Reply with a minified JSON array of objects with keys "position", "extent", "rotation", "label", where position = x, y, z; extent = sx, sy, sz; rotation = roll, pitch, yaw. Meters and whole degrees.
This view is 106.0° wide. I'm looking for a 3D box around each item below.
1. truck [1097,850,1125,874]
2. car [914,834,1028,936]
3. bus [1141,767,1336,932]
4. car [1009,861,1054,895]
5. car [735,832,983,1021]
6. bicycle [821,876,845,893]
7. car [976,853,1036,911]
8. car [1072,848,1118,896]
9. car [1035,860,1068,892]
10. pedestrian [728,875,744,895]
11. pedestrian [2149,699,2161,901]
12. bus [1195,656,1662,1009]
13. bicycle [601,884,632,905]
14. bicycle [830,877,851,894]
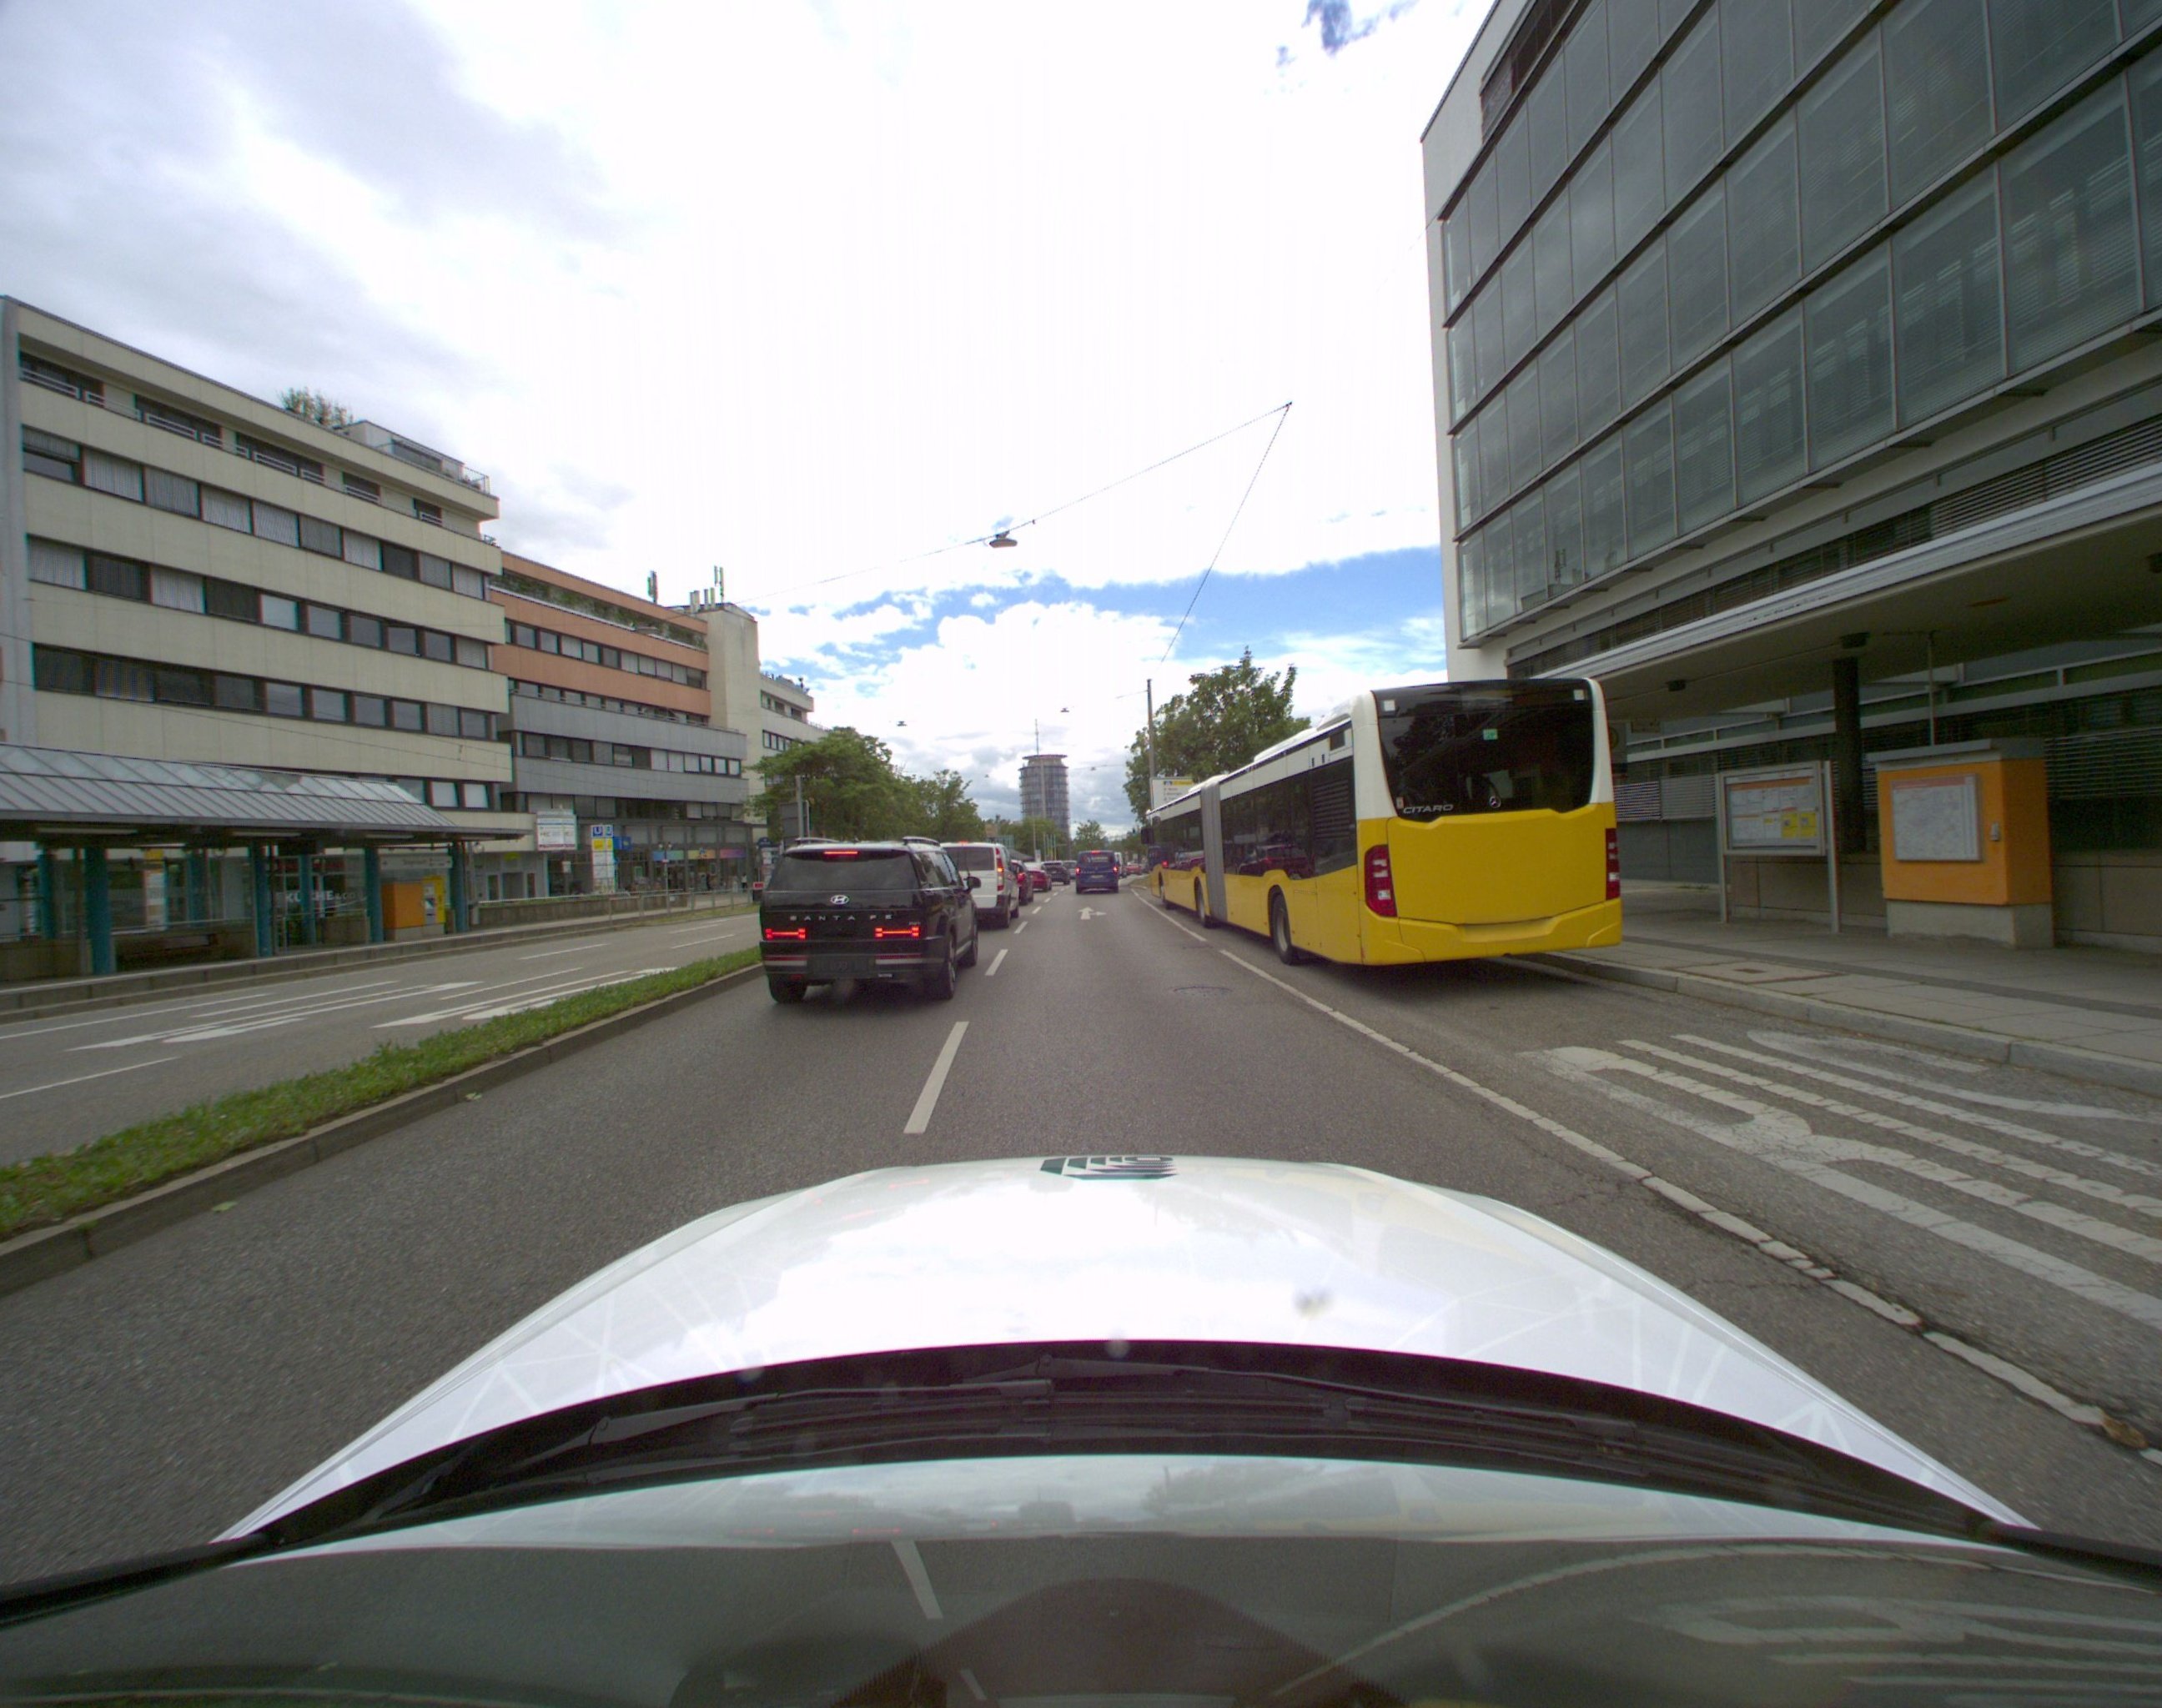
[{"position":[2.920,0.792,79.069],"extent":[1.981,2.166,5.573],"rotation":[-1,-1,9],"label":"truck"},{"position":[-2.465,0.642,19.514],"extent":[1.867,2.013,5.076],"rotation":[-3,0,1],"label":"car"},{"position":[3.511,-0.082,20.938],"extent":[2.706,3.163,9.118],"rotation":[-3,0,-2],"label":"bus"},{"position":[-2.396,1.184,40.350],"extent":[1.862,1.486,3.999],"rotation":[-3,-2,0],"label":"car"},{"position":[-2.372,0.718,10.031],"extent":[1.917,1.751,4.674],"rotation":[-1,-1,-2],"label":"car"},{"position":[-19.340,2.396,63.519],"extent":[0.619,1.253,1.694],"rotation":[-4,-2,41],"label":"bicycle"},{"position":[-2.536,0.972,28.257],"extent":[1.742,1.723,3.995],"rotation":[-5,-2,-3],"label":"car"},{"position":[0.632,0.811,37.222],"extent":[1.941,1.965,4.541],"rotation":[-2,-1,1],"label":"car"},{"position":[-1.930,1.430,55.031],"extent":[1.987,2.013,4.000],"rotation":[-2,0,0],"label":"car"},{"position":[-27.899,2.479,65.850],"extent":[0.905,1.527,0.841],"rotation":[-3,0,-42],"label":"pedestrian"},{"position":[8.048,-0.094,5.231],"extent":[1.137,2.013,0.880],"rotation":[-3,0,-2],"label":"pedestrian"},{"position":[3.839,-0.201,11.933],"extent":[2.705,3.108,8.864],"rotation":[-3,0,-2],"label":"bus"},{"position":[-31.161,2.698,54.629],"extent":[1.949,1.319,0.710],"rotation":[-3,-1,25],"label":"bicycle"},{"position":[-18.713,2.443,63.369],"extent":[0.427,1.253,1.479],"rotation":[-4,-1,44],"label":"bicycle"}]
